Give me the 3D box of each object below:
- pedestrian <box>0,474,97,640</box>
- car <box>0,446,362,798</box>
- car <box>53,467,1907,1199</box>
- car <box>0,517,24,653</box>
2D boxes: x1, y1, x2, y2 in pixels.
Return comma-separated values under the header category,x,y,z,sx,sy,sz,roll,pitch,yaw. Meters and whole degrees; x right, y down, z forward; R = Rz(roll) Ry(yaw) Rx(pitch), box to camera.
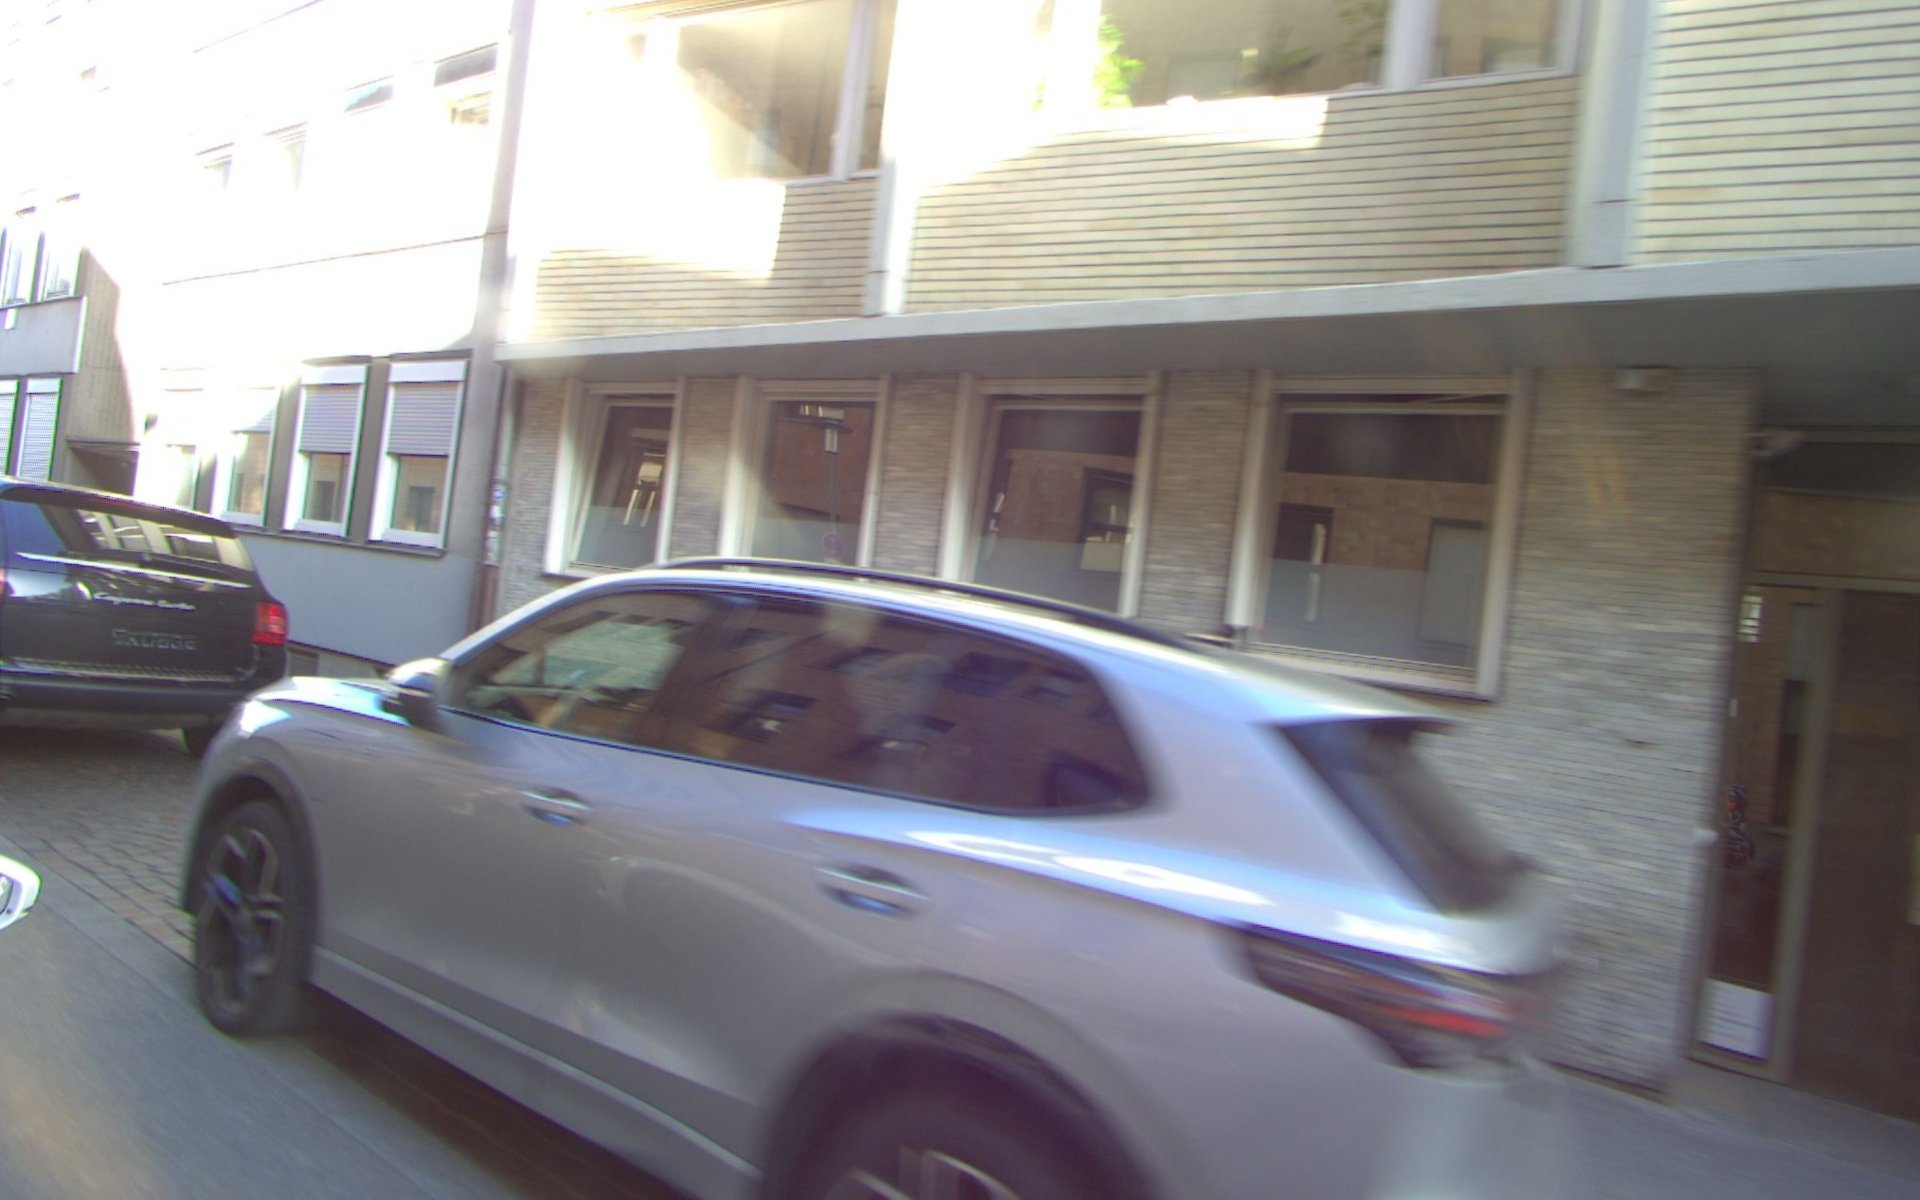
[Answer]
category,x,y,z,sx,sy,sz,roll,pitch,yaw
pedestrian,-10.347,-0.475,11.236,0.734,1.743,0.789,7,1,31
car,-6.698,-0.032,7.065,4.969,1.805,2.108,7,-3,32
car,-0.585,0.733,3.184,4.763,1.720,1.999,7,-4,32
car,-11.815,-0.430,10.336,4.709,1.427,1.813,7,-4,30
